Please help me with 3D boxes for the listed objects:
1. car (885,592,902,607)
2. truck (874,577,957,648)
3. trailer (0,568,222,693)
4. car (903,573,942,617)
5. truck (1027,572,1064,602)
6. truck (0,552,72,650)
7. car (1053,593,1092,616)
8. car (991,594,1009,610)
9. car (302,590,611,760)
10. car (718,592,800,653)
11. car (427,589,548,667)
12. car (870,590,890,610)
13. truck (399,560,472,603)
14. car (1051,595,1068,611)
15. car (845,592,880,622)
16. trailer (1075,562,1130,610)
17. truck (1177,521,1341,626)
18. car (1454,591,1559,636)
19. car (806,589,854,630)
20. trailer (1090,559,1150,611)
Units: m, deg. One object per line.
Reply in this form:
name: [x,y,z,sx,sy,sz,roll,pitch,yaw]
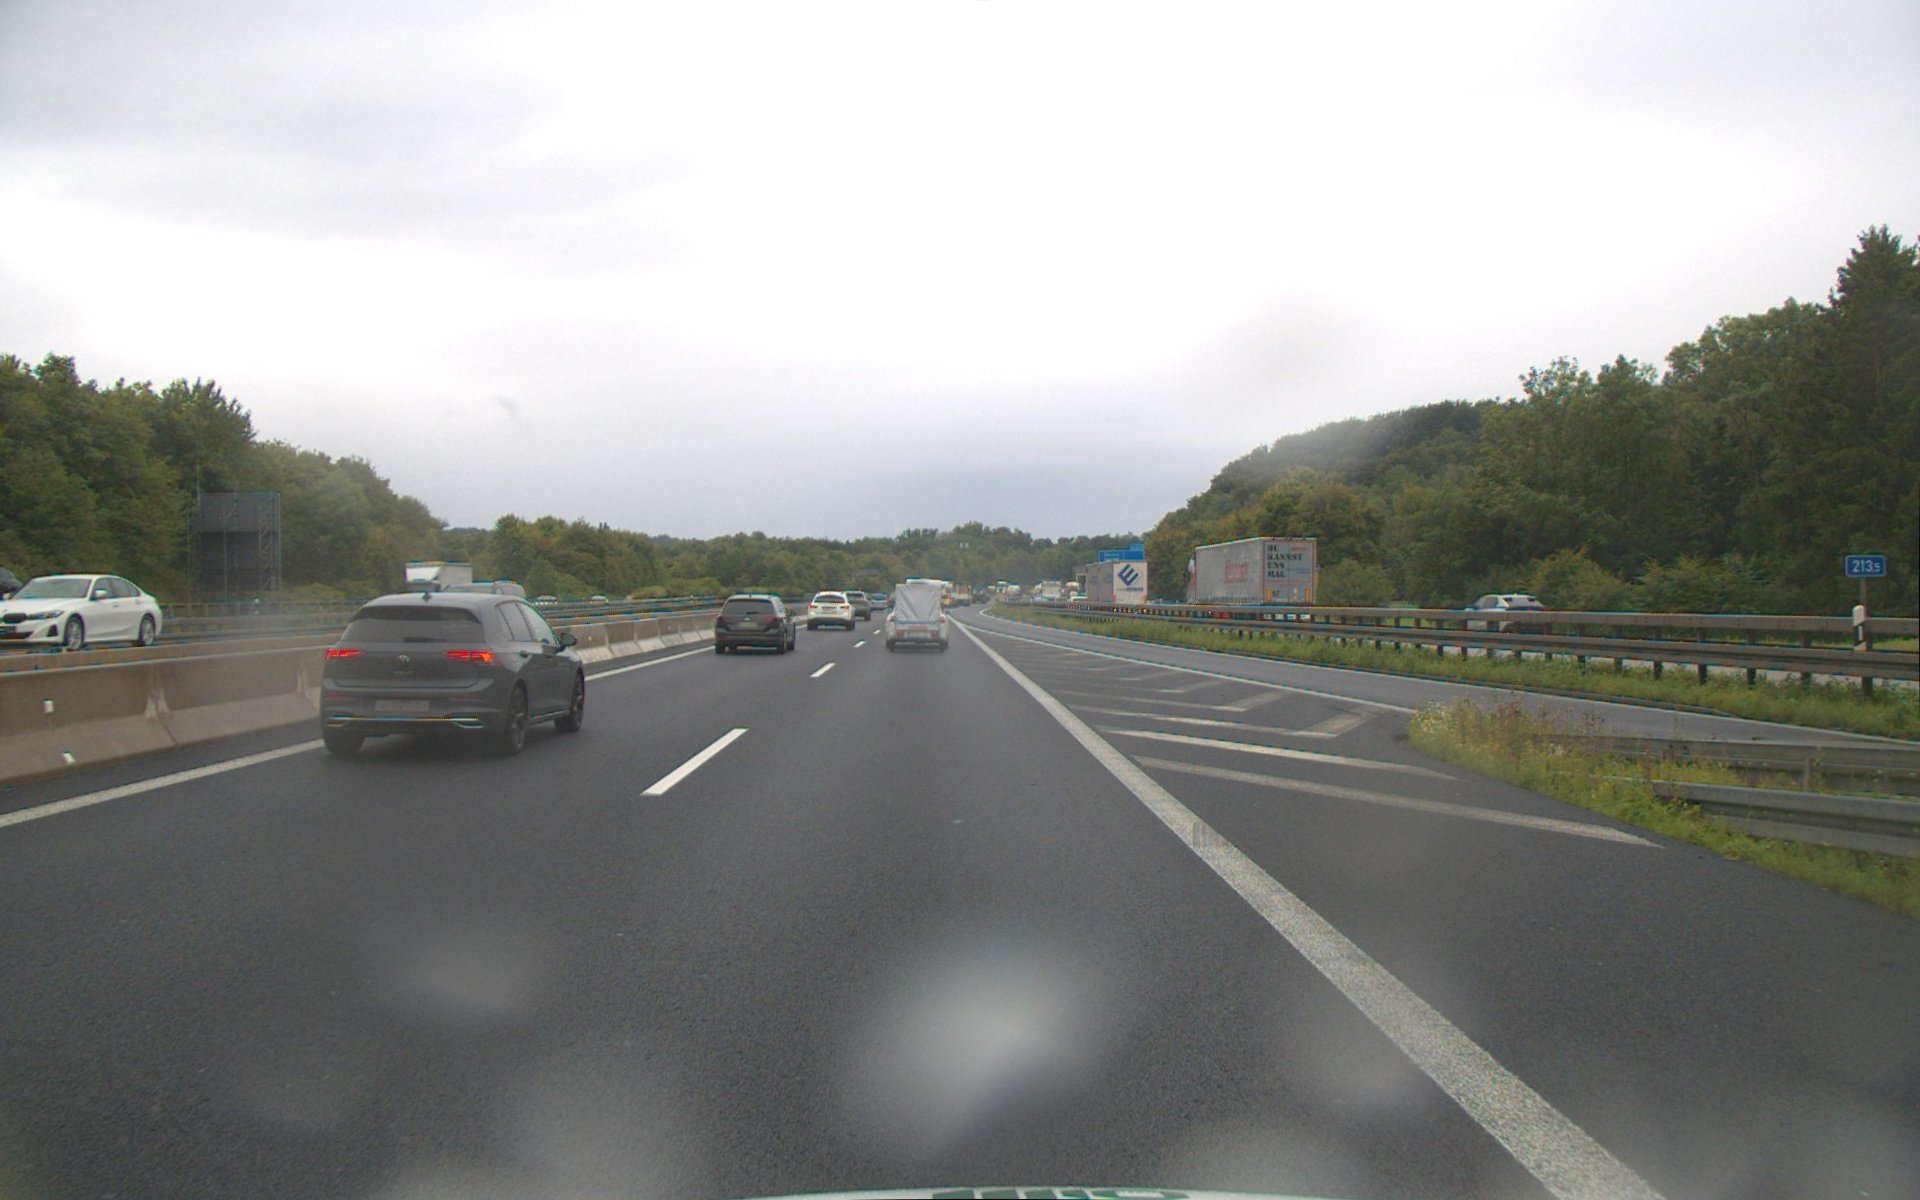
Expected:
car: [-7.400,-0.064,183.511,1.782,1.691,4.016,0,0,-1]
truck: [-1.265,0.366,47.325,2.197,1.871,6.582,0,-1,-2]
trailer: [-16.954,0.489,30.336,2.485,2.049,10.242,0,0,-1]
car: [-2.484,-0.332,107.315,2.285,2.773,6.536,0,0,-3]
truck: [11.340,-1.687,219.441,3.750,3.723,8.263,1,0,-5]
truck: [-32.433,0.036,53.791,2.462,3.200,8.847,0,0,-1]
car: [8.258,0.324,122.178,1.956,1.645,5.070,0,0,-7]
car: [4.090,0.170,169.918,1.612,1.601,3.999,1,0,-1]
car: [-4.833,0.650,16.544,1.793,1.450,4.367,1,0,-1]
car: [-5.181,0.553,43.152,1.752,1.484,4.799,1,0,-3]
car: [-13.241,0.738,46.670,1.953,2.049,5.099,0,0,0]
car: [-7.343,0.011,151.620,1.703,1.825,3.999,1,0,-2]
truck: [-37.143,-1.284,117.469,2.684,2.923,8.538,0,0,-2]
car: [10.752,0.338,178.884,1.612,1.601,3.999,1,0,-1]
car: [-5.852,0.434,100.153,1.936,1.733,4.800,1,0,-2]
trailer: [11.054,-1.044,129.155,2.880,3.588,8.412,1,0,-4]
truck: [14.279,-1.137,81.156,3.746,4.620,16.868,0,0,-5]
car: [19.536,0.461,59.310,1.784,1.530,5.027,0,0,-4]
car: [-5.668,0.397,71.875,2.008,1.700,4.536,1,0,-5]
trailer: [11.612,-1.036,120.905,3.017,3.588,8.078,1,0,-4]
